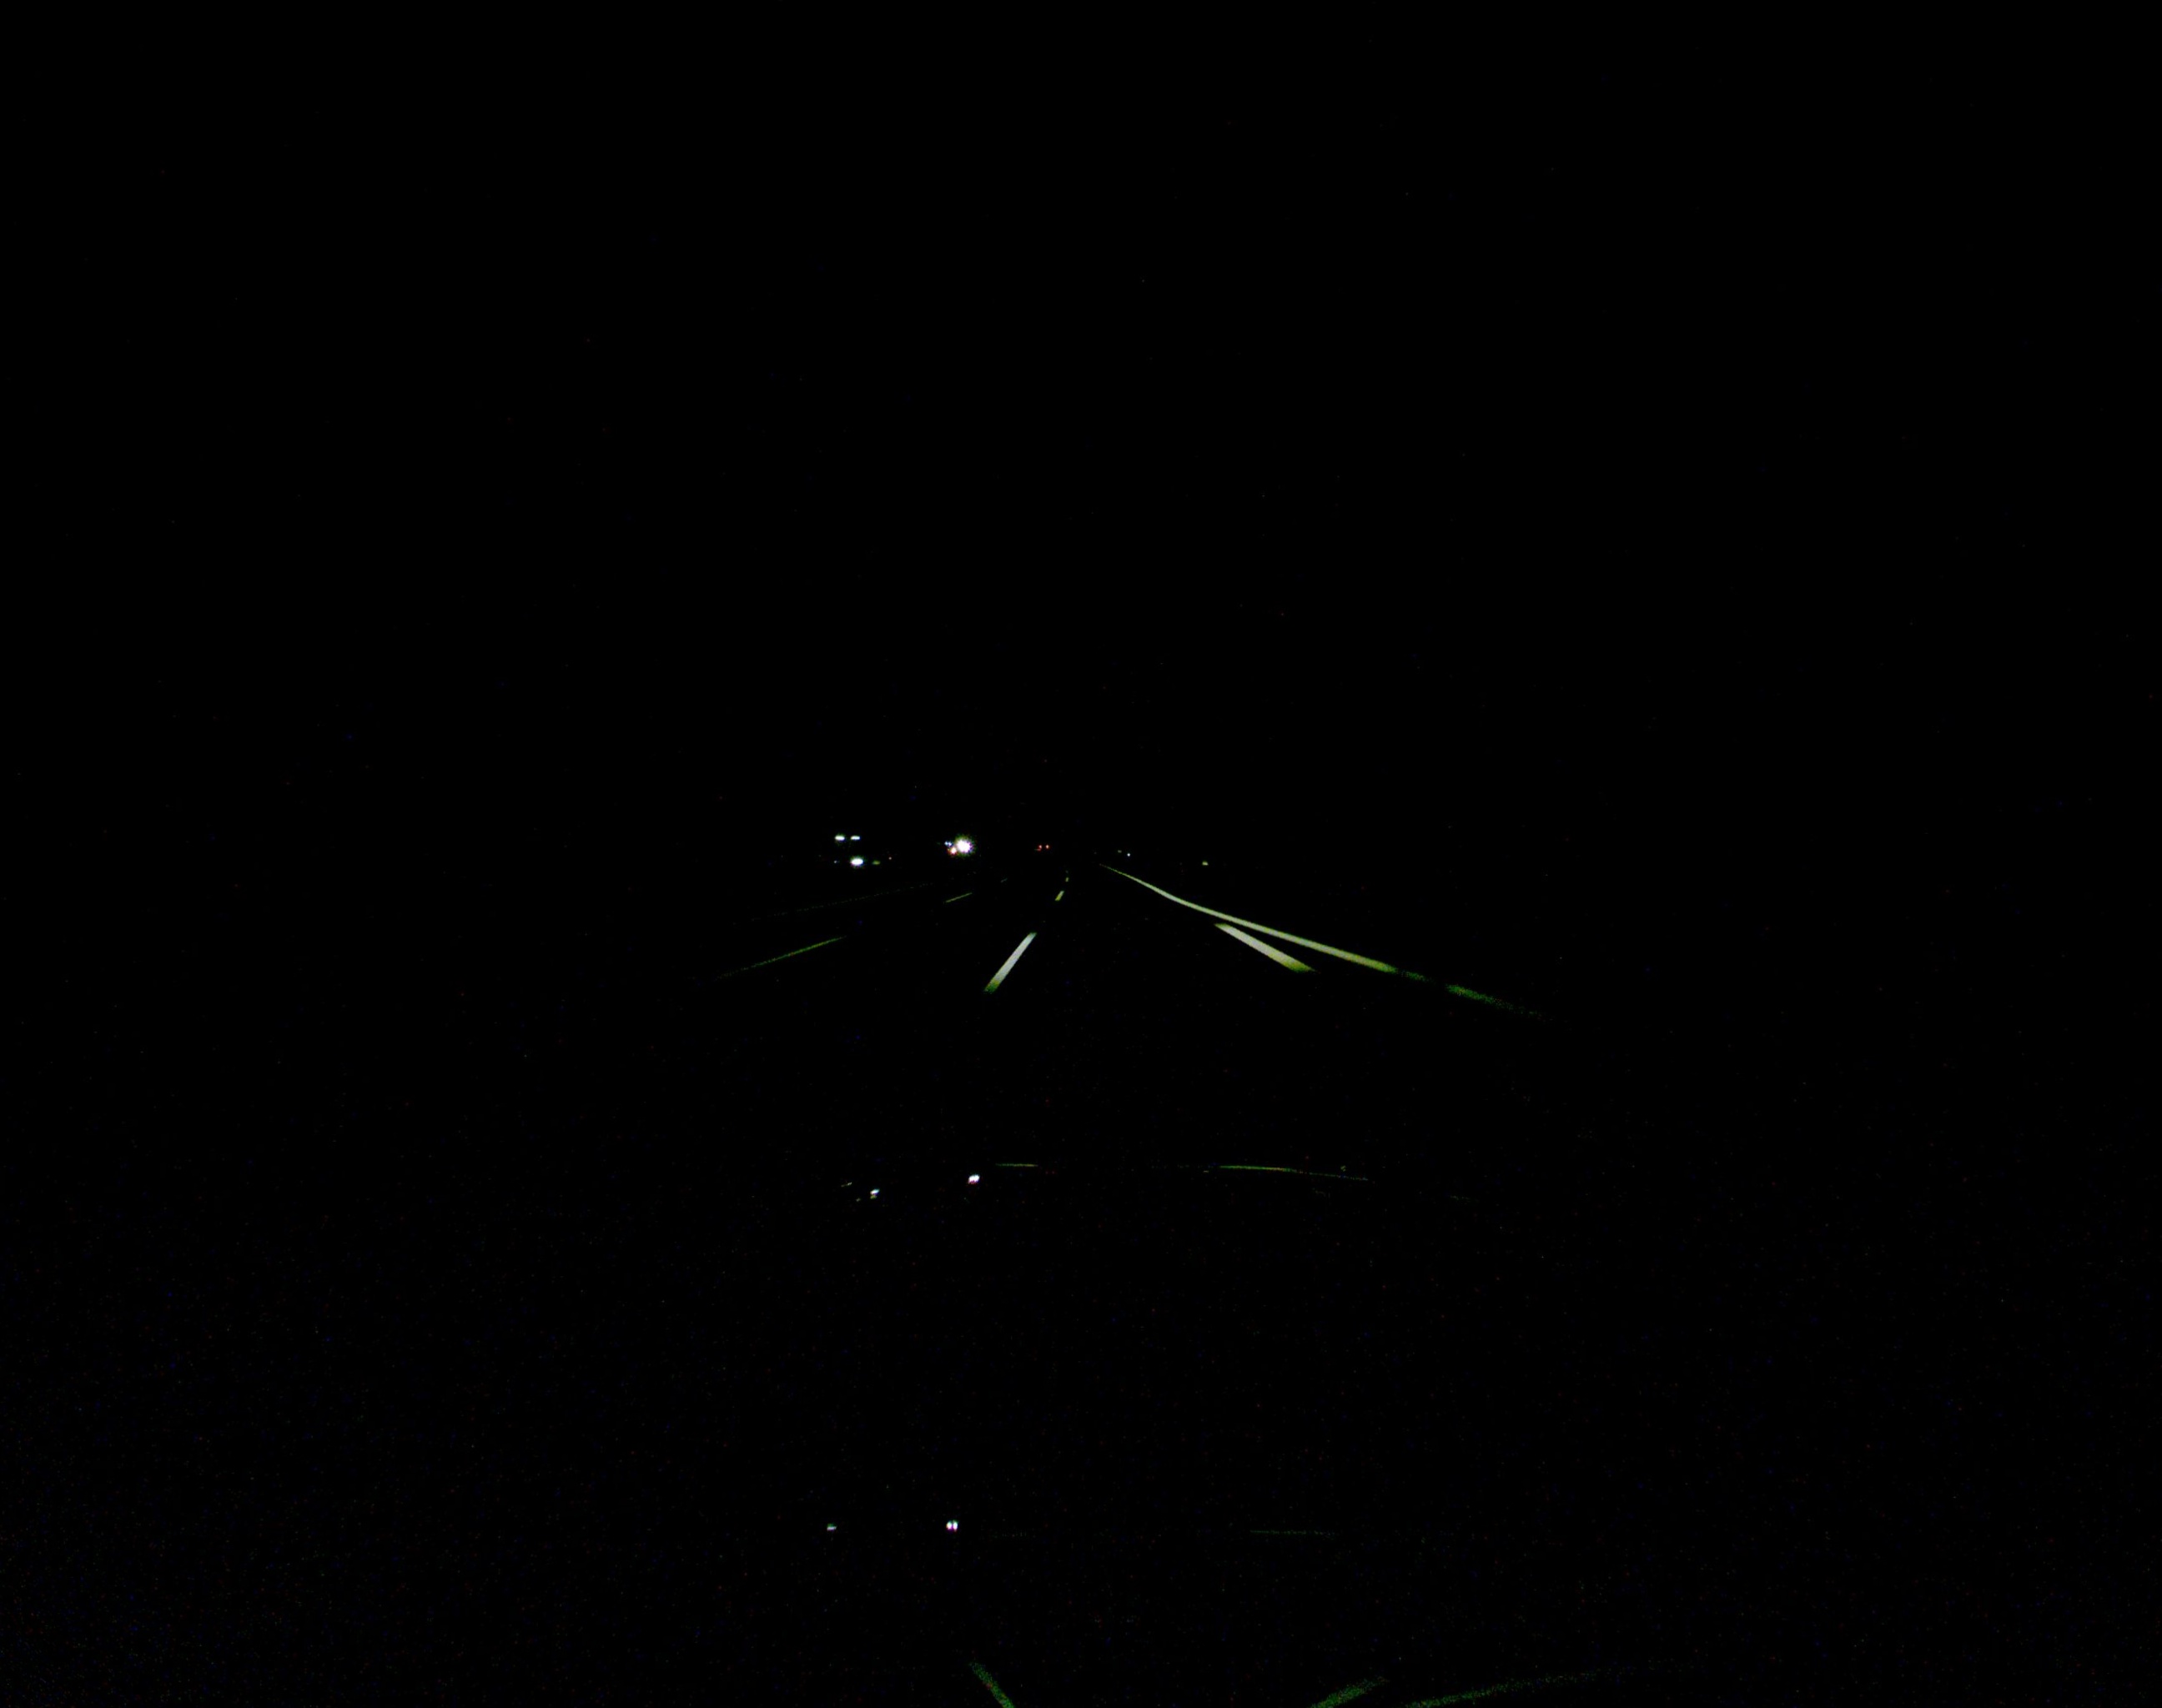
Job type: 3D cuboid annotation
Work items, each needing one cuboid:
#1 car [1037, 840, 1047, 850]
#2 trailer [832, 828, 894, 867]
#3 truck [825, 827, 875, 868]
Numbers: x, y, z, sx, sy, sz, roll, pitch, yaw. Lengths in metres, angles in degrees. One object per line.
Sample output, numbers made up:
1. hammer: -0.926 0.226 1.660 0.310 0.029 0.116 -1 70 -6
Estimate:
1. car: -10.200 -2.410 211.462 2.522 2.553 6.044 1 0 -3
2. trailer: -24.390 -0.733 92.290 3.589 4.090 14.114 -1 0 -2
3. truck: -24.174 -0.687 85.711 3.580 4.099 5.990 -1 0 -2
